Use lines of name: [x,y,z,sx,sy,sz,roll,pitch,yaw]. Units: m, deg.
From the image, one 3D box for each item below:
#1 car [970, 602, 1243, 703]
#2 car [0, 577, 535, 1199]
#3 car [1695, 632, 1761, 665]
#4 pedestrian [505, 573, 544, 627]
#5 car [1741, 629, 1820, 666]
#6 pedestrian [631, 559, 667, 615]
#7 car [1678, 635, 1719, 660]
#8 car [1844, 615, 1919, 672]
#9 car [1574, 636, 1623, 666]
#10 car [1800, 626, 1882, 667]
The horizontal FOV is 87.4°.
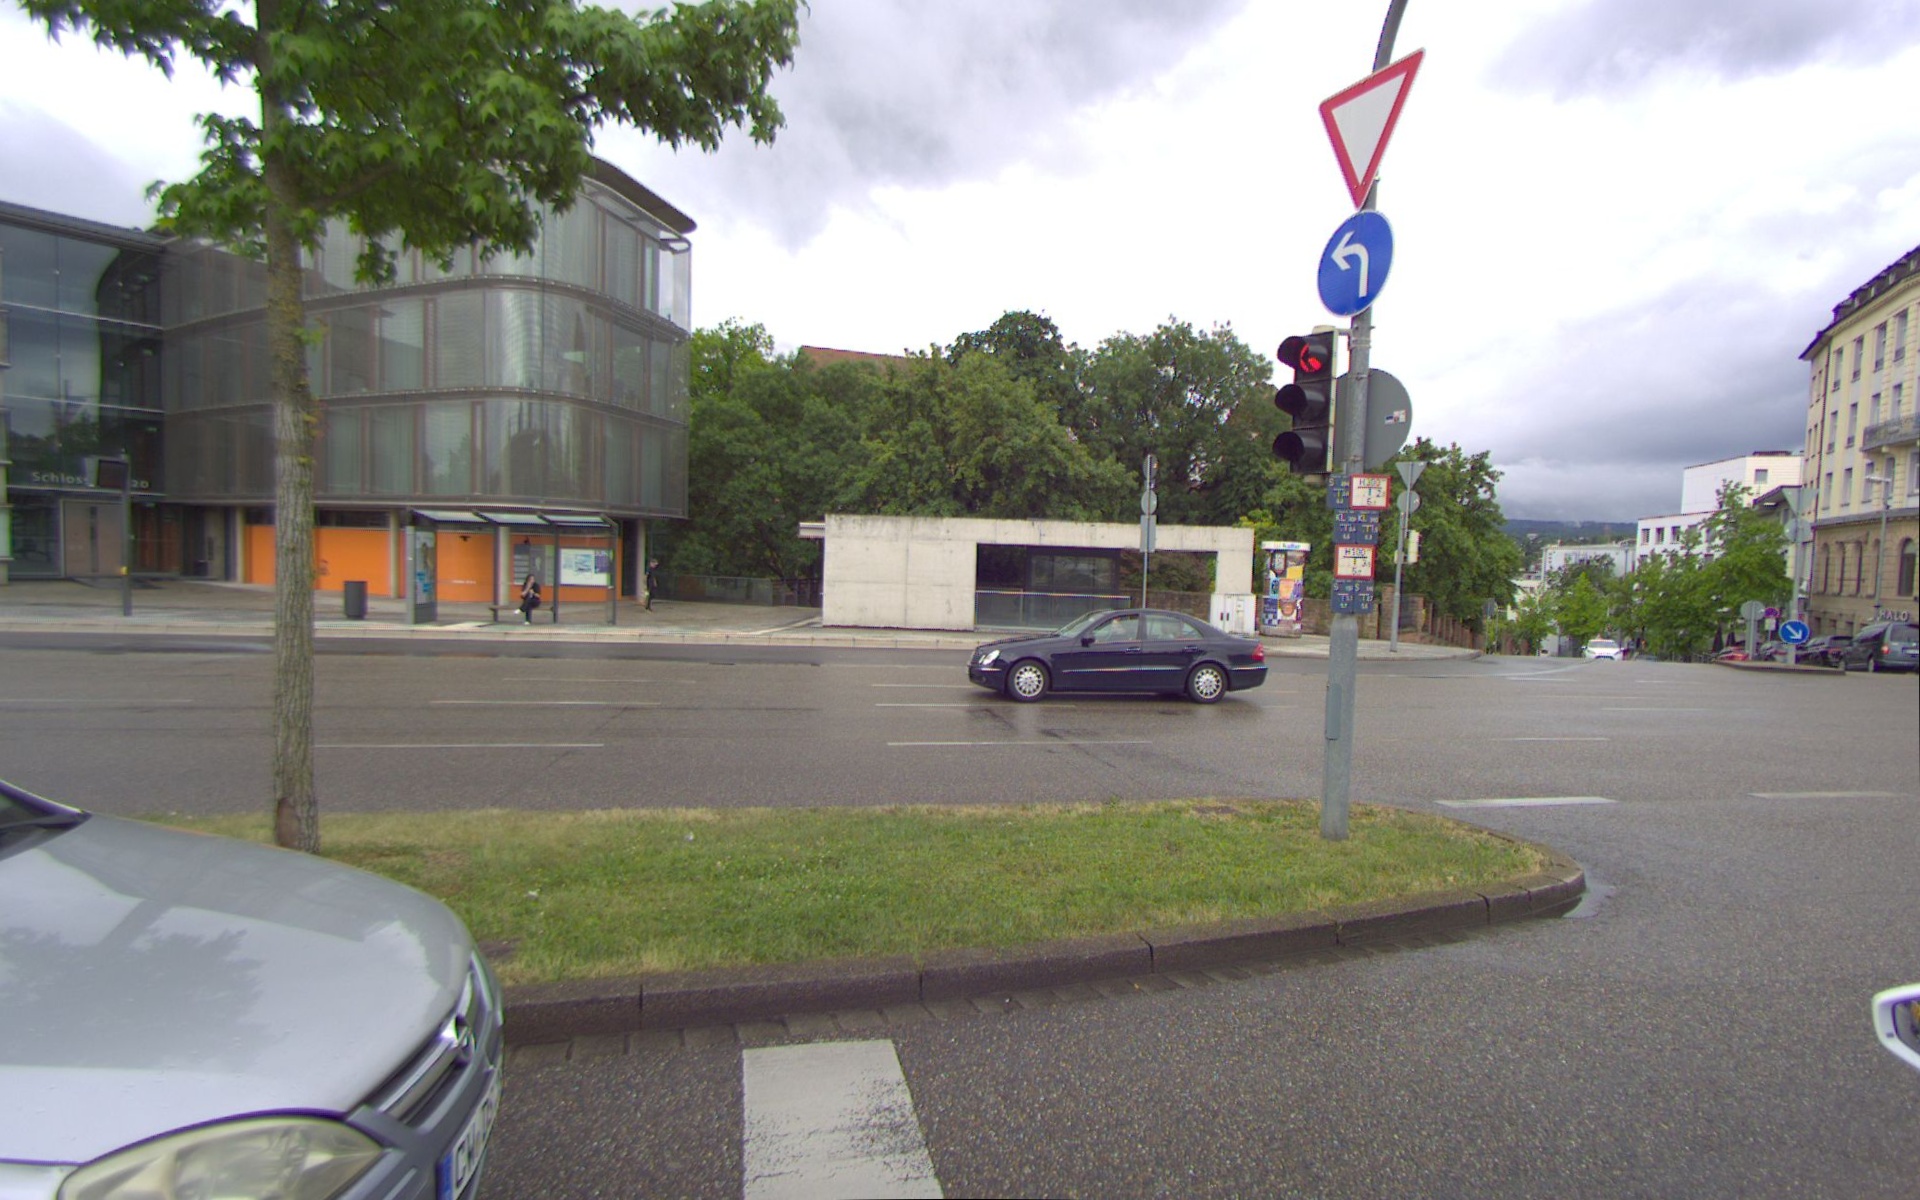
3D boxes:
car: [2.252,0.804,16.096,3.926,1.441,1.959,2,0,-8]
car: [-2.762,0.673,1.466,3.656,1.485,1.696,2,0,-13]
car: [39.105,2.437,51.246,1.736,1.498,4.008,2,0,24]
pedestrian: [-10.906,0.009,25.159,0.706,1.316,0.668,2,0,-6]
car: [36.998,2.114,45.405,1.736,1.498,3.998,2,0,24]
pedestrian: [-10.095,-0.428,32.594,0.809,1.780,0.786,2,1,10]
car: [50.326,3.212,68.474,1.738,1.498,3.993,2,0,30]
car: [32.173,1.463,34.656,1.605,1.783,3.993,2,1,28]
car: [34.128,2.706,53.760,1.604,1.417,3.998,2,0,24]
car: [35.274,1.808,40.315,1.605,1.417,3.993,2,1,28]
